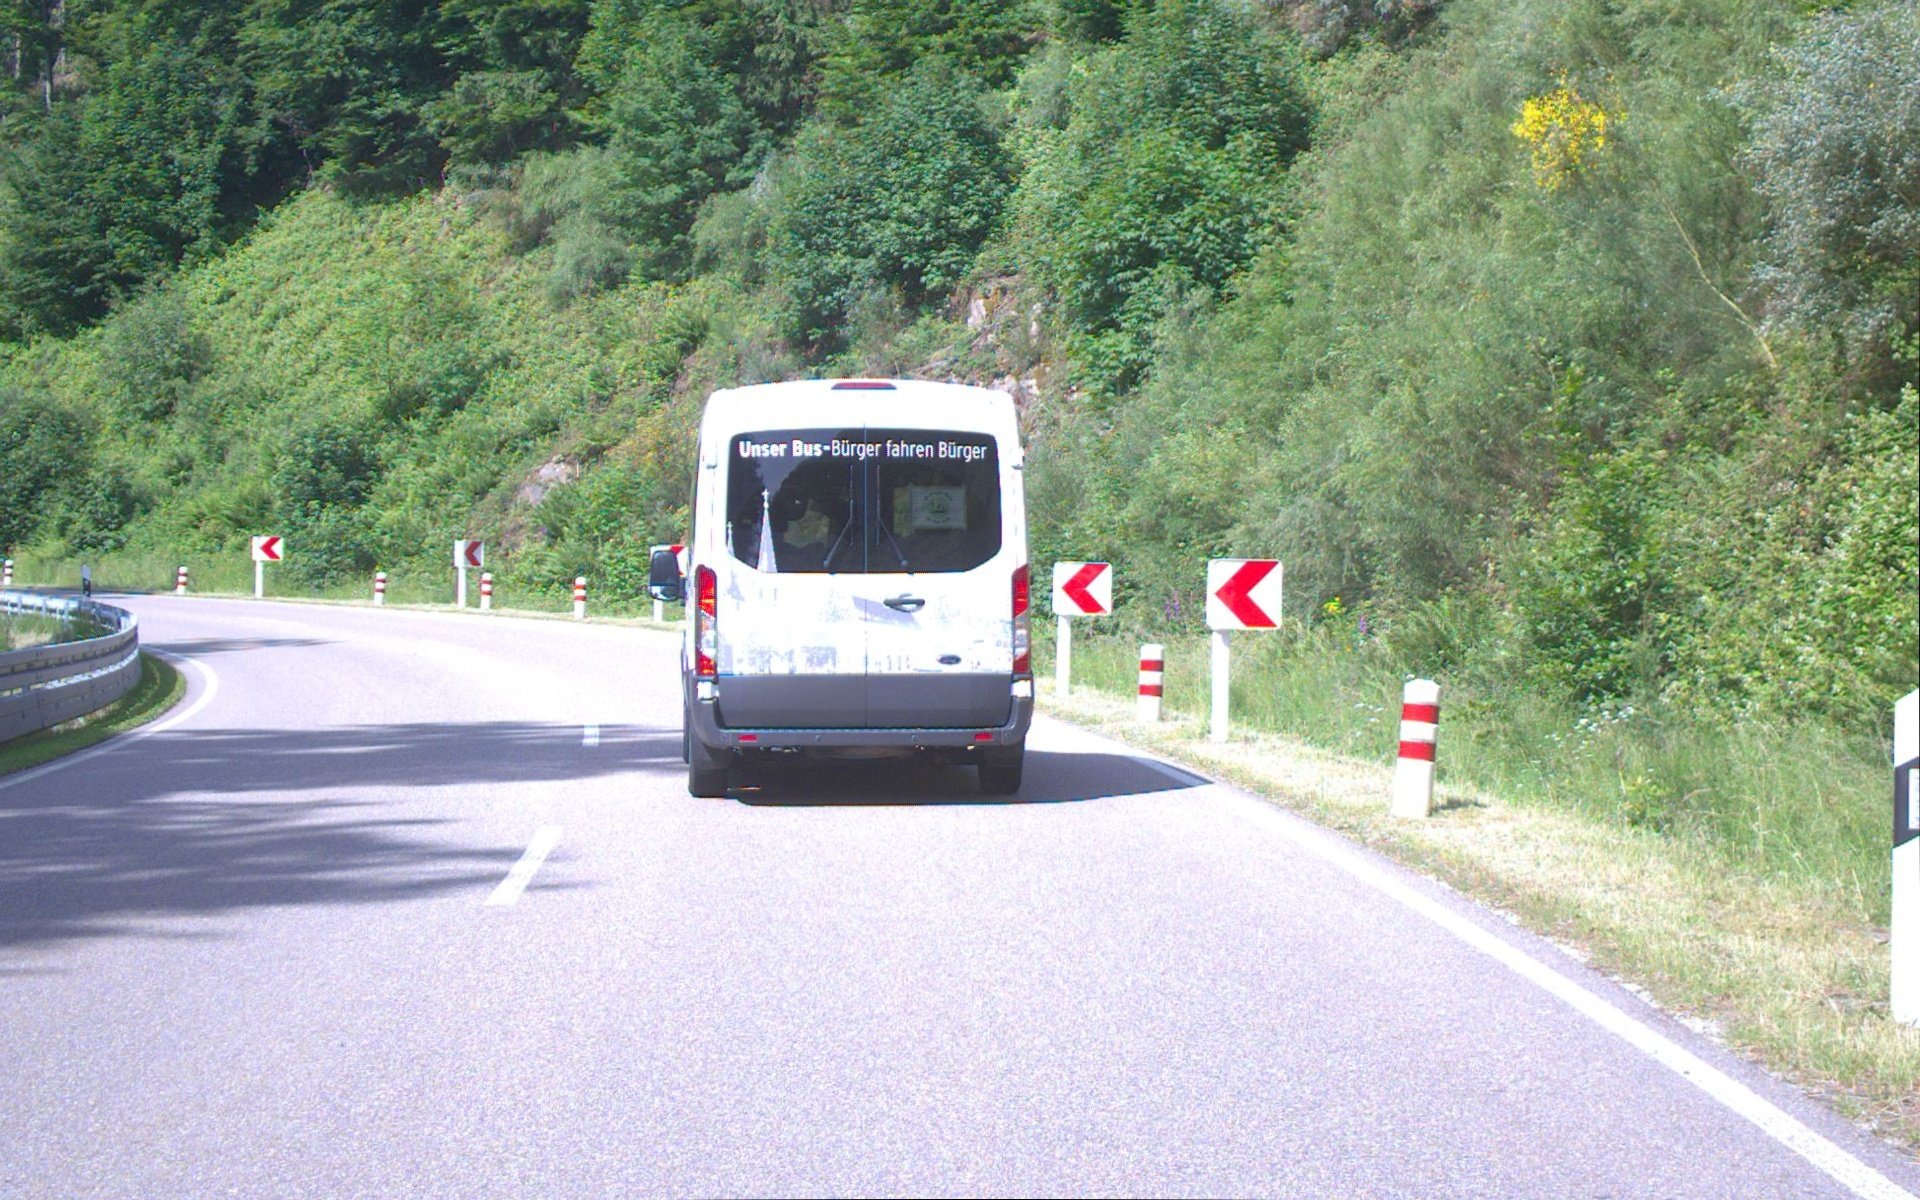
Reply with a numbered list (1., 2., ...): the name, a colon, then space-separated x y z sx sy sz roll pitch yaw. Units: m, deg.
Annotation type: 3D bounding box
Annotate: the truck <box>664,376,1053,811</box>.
1. truck: -0.780 -0.071 21.925 2.083 2.451 4.876 0 1 -6
